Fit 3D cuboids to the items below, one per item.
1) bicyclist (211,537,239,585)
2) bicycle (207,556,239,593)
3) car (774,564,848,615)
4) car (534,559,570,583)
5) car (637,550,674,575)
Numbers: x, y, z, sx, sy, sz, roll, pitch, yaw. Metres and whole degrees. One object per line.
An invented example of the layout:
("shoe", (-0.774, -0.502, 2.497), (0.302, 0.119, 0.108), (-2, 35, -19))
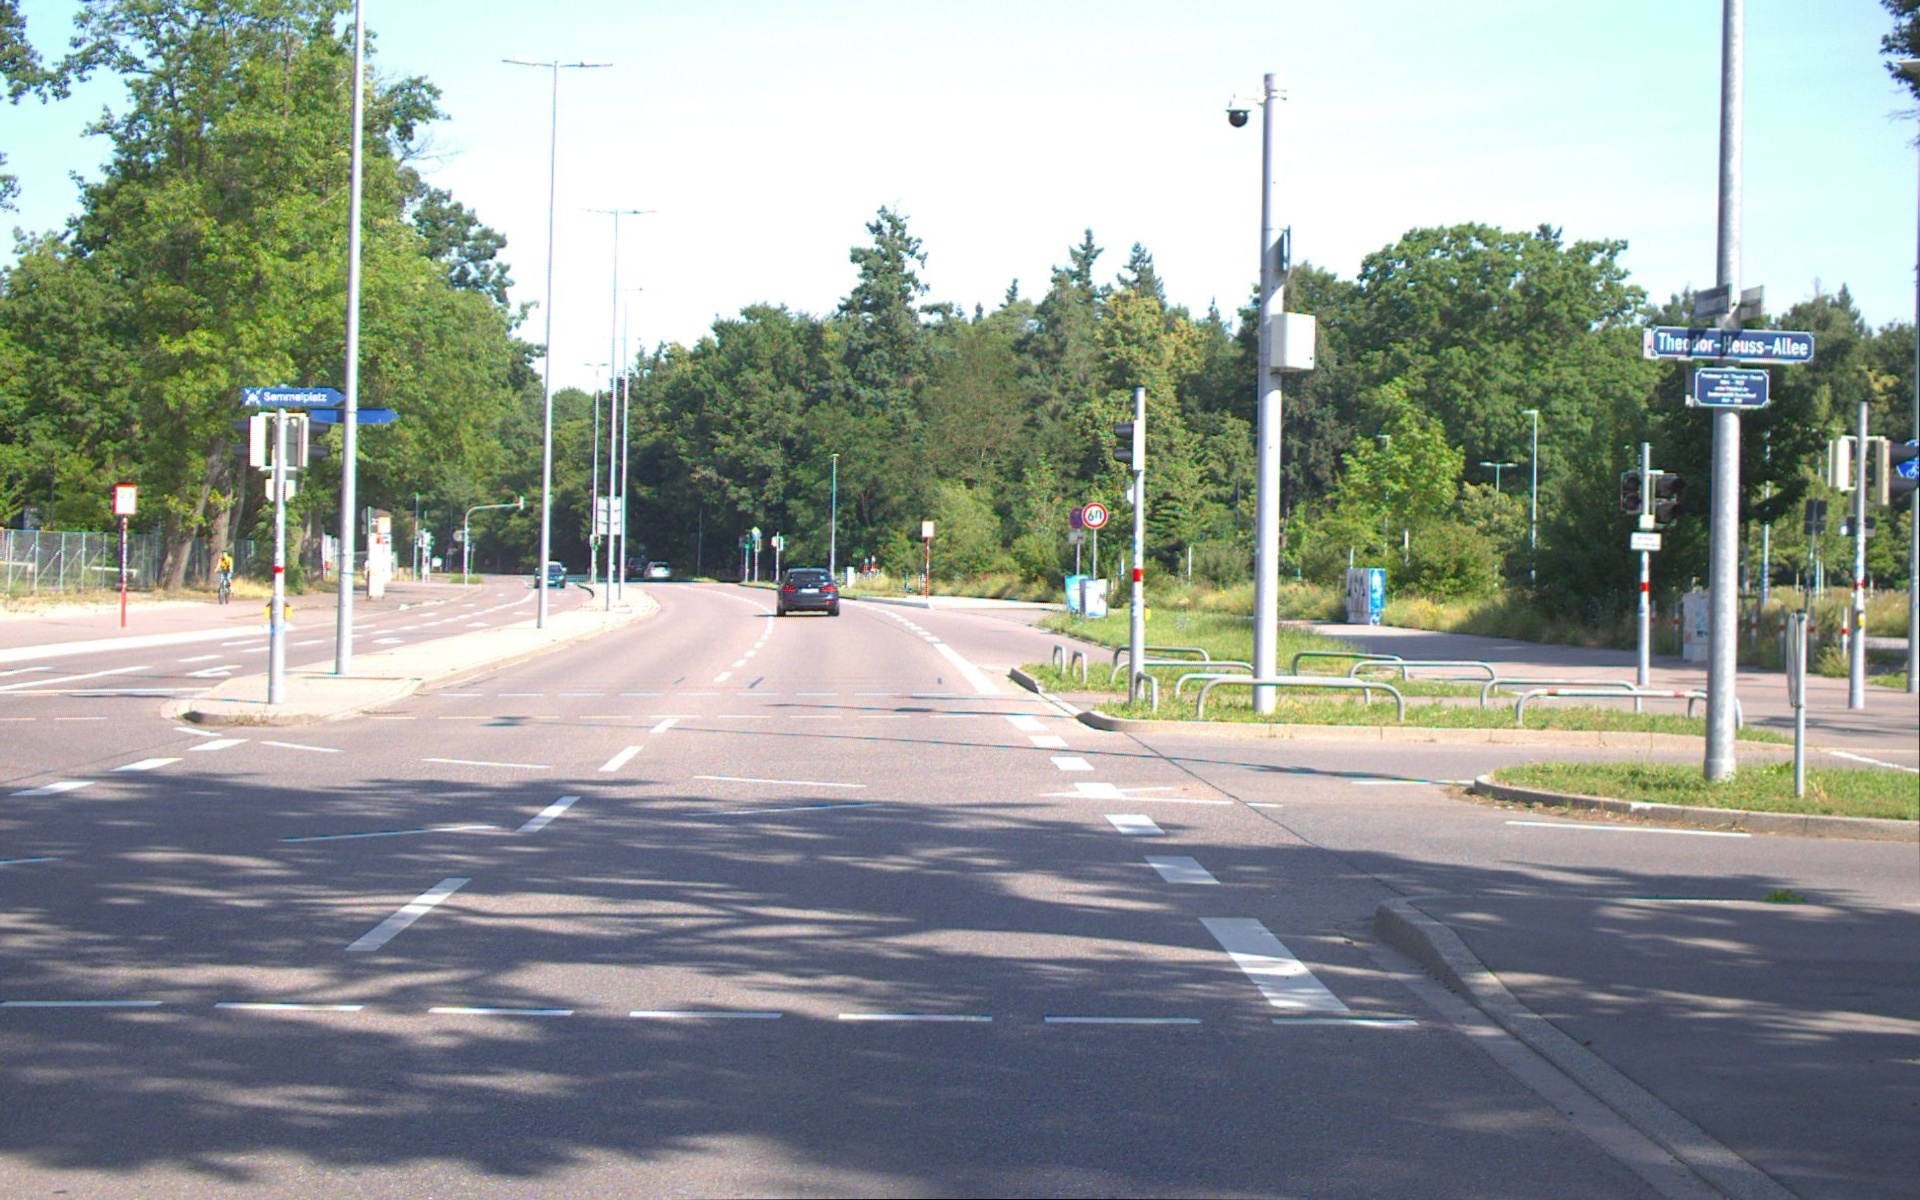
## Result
("bicyclist", (-22.921, -1.212, 107.177), (0.659, 1.462, 1.057), (2, 0, -4))
("bicycle", (-22.948, -0.793, 107.067), (0.659, 1.132, 1.879), (2, 1, -4))
("car", (-4.458, -0.329, 102.231), (1.940, 1.415, 4.294), (1, 1, -6))
("car", (-24.547, -1.728, 206.735), (1.810, 1.383, 4.163), (-1, 1, -11))
("car", (-21.890, -2.692, 247.045), (1.993, 1.744, 4.001), (1, 0, -14))
